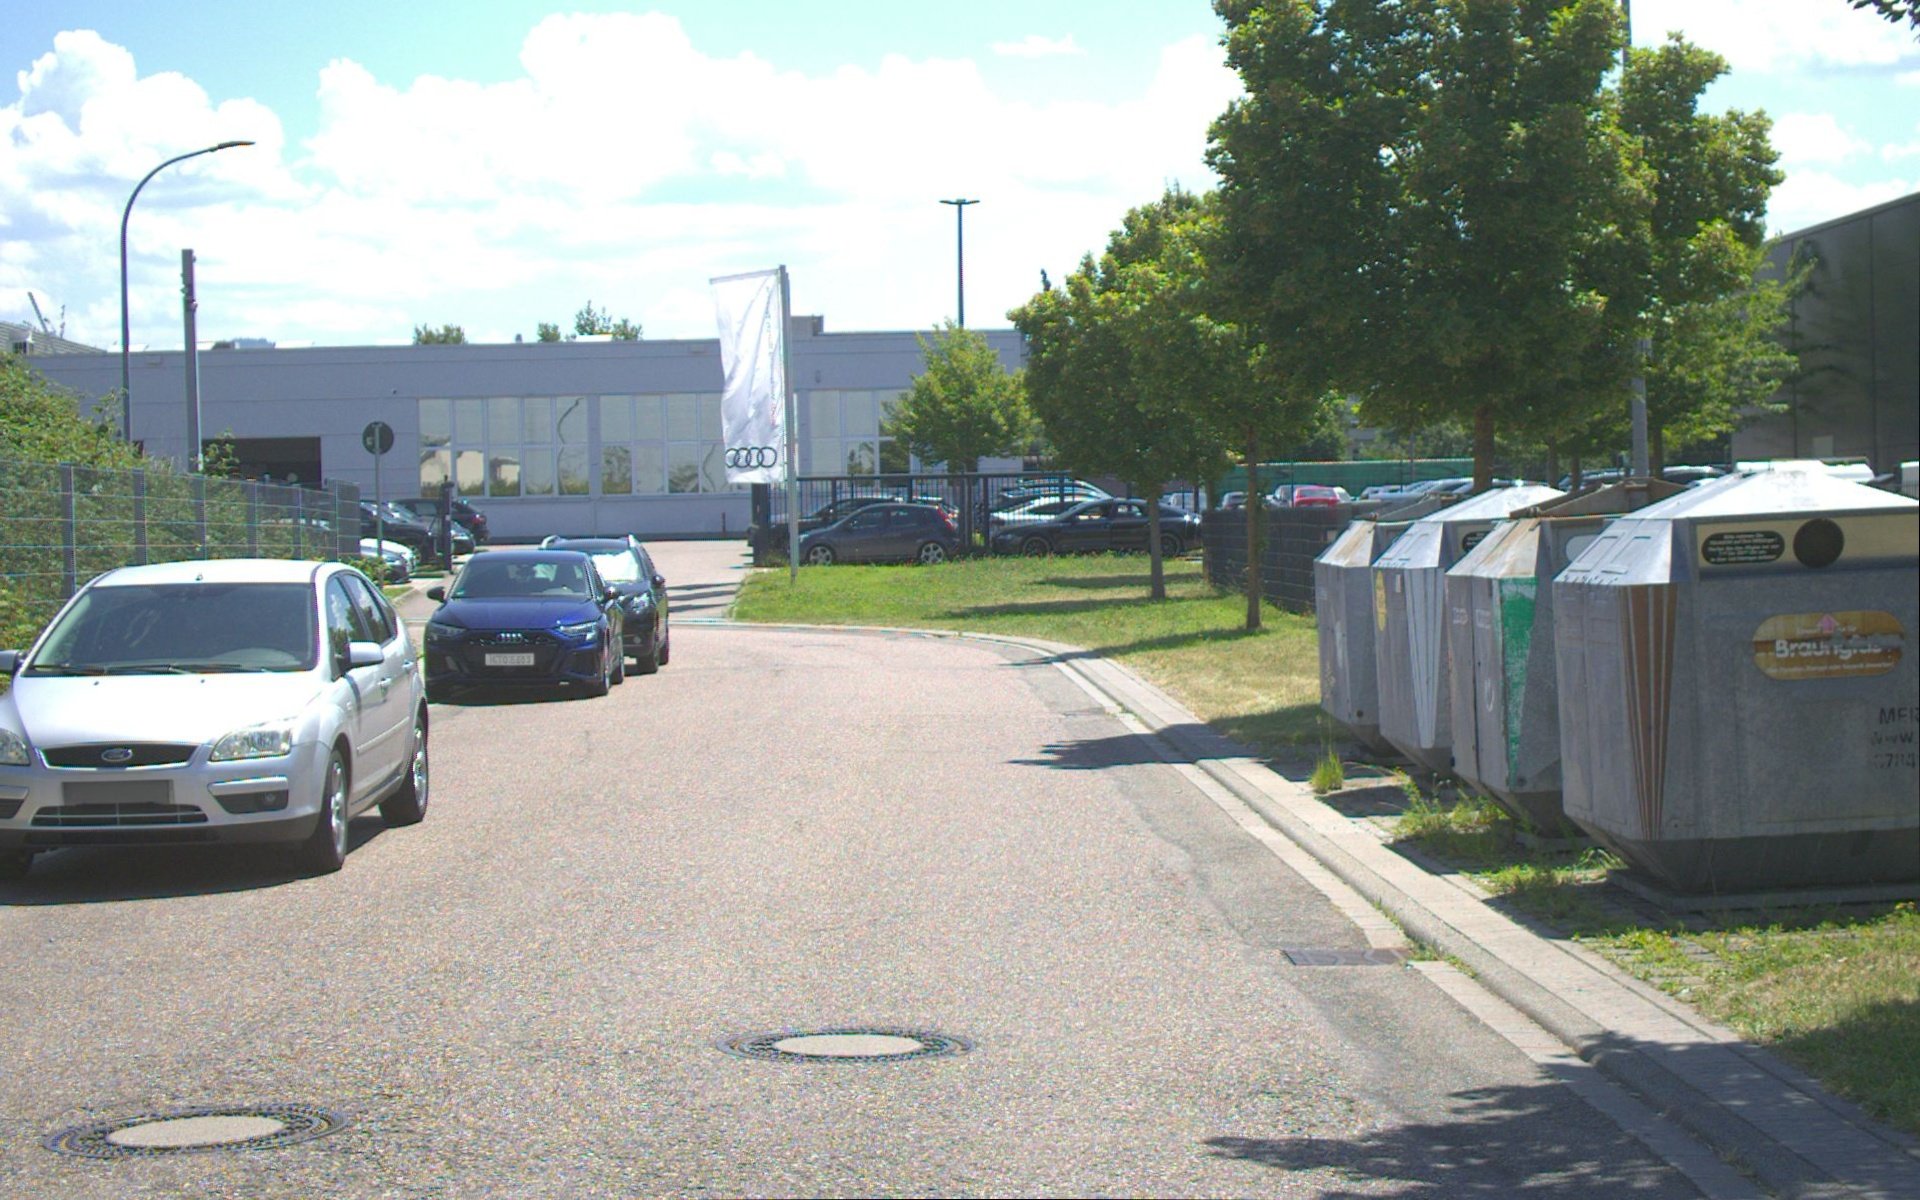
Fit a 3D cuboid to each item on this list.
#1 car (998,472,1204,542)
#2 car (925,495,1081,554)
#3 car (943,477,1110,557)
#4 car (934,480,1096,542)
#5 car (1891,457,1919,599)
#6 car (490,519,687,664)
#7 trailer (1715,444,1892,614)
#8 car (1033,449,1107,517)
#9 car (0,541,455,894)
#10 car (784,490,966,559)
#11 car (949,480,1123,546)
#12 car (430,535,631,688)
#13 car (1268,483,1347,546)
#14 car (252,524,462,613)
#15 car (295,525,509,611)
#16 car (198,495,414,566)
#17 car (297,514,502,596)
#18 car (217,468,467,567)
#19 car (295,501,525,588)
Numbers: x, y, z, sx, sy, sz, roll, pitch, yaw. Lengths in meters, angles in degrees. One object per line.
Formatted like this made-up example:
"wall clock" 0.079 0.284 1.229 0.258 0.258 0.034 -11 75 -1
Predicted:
"car" 3.147 -2.083 77.183 4.437 1.393 2.000 -2 -1 -2
"car" 1.105 -1.989 90.864 3.986 1.393 2.000 -2 -1 -2
"car" 1.636 -2.055 85.359 3.986 1.821 2.000 -2 -1 -2
"car" 1.376 -2.257 87.442 3.986 1.393 2.000 -2 -1 -2
"car" 11.420 -0.854 35.902 1.880 1.517 4.469 -2 -1 -4
"car" -4.269 -0.136 40.067 1.833 1.541 4.265 -2 1 -1
"trailer" 10.873 -0.960 44.479 1.493 1.999 3.264 -2 4 1
"car" 3.291 -3.498 103.531 1.993 1.821 4.000 -2 -1 -1
"car" -3.844 0.499 17.722 1.833 1.541 4.367 -2 1 -1
"car" -1.927 -1.690 77.204 3.986 1.393 2.000 -2 -1 -2
"car" 1.781 -2.051 81.751 3.986 1.393 2.000 -2 -1 -2
"car" -4.301 0.070 34.926 1.656 1.412 4.146 -2 1 -3
"car" 11.025 -2.692 109.223 1.993 1.821 4.000 -2 -1 -1
"car" -14.192 -0.756 81.127 4.586 1.916 2.000 -2 2 -1
"car" -13.589 -0.789 83.934 4.883 1.916 2.000 -2 2 -1
"car" -14.488 -1.528 76.320 4.437 1.393 2.000 -2 -1 -2
"car" -14.314 -1.167 87.968 4.883 1.916 2.000 -2 2 -1
"car" -14.091 -1.890 78.626 5.317 2.090 2.000 -2 1 -1
"car" -11.336 -1.135 71.067 4.437 1.621 2.000 -2 -1 -2
